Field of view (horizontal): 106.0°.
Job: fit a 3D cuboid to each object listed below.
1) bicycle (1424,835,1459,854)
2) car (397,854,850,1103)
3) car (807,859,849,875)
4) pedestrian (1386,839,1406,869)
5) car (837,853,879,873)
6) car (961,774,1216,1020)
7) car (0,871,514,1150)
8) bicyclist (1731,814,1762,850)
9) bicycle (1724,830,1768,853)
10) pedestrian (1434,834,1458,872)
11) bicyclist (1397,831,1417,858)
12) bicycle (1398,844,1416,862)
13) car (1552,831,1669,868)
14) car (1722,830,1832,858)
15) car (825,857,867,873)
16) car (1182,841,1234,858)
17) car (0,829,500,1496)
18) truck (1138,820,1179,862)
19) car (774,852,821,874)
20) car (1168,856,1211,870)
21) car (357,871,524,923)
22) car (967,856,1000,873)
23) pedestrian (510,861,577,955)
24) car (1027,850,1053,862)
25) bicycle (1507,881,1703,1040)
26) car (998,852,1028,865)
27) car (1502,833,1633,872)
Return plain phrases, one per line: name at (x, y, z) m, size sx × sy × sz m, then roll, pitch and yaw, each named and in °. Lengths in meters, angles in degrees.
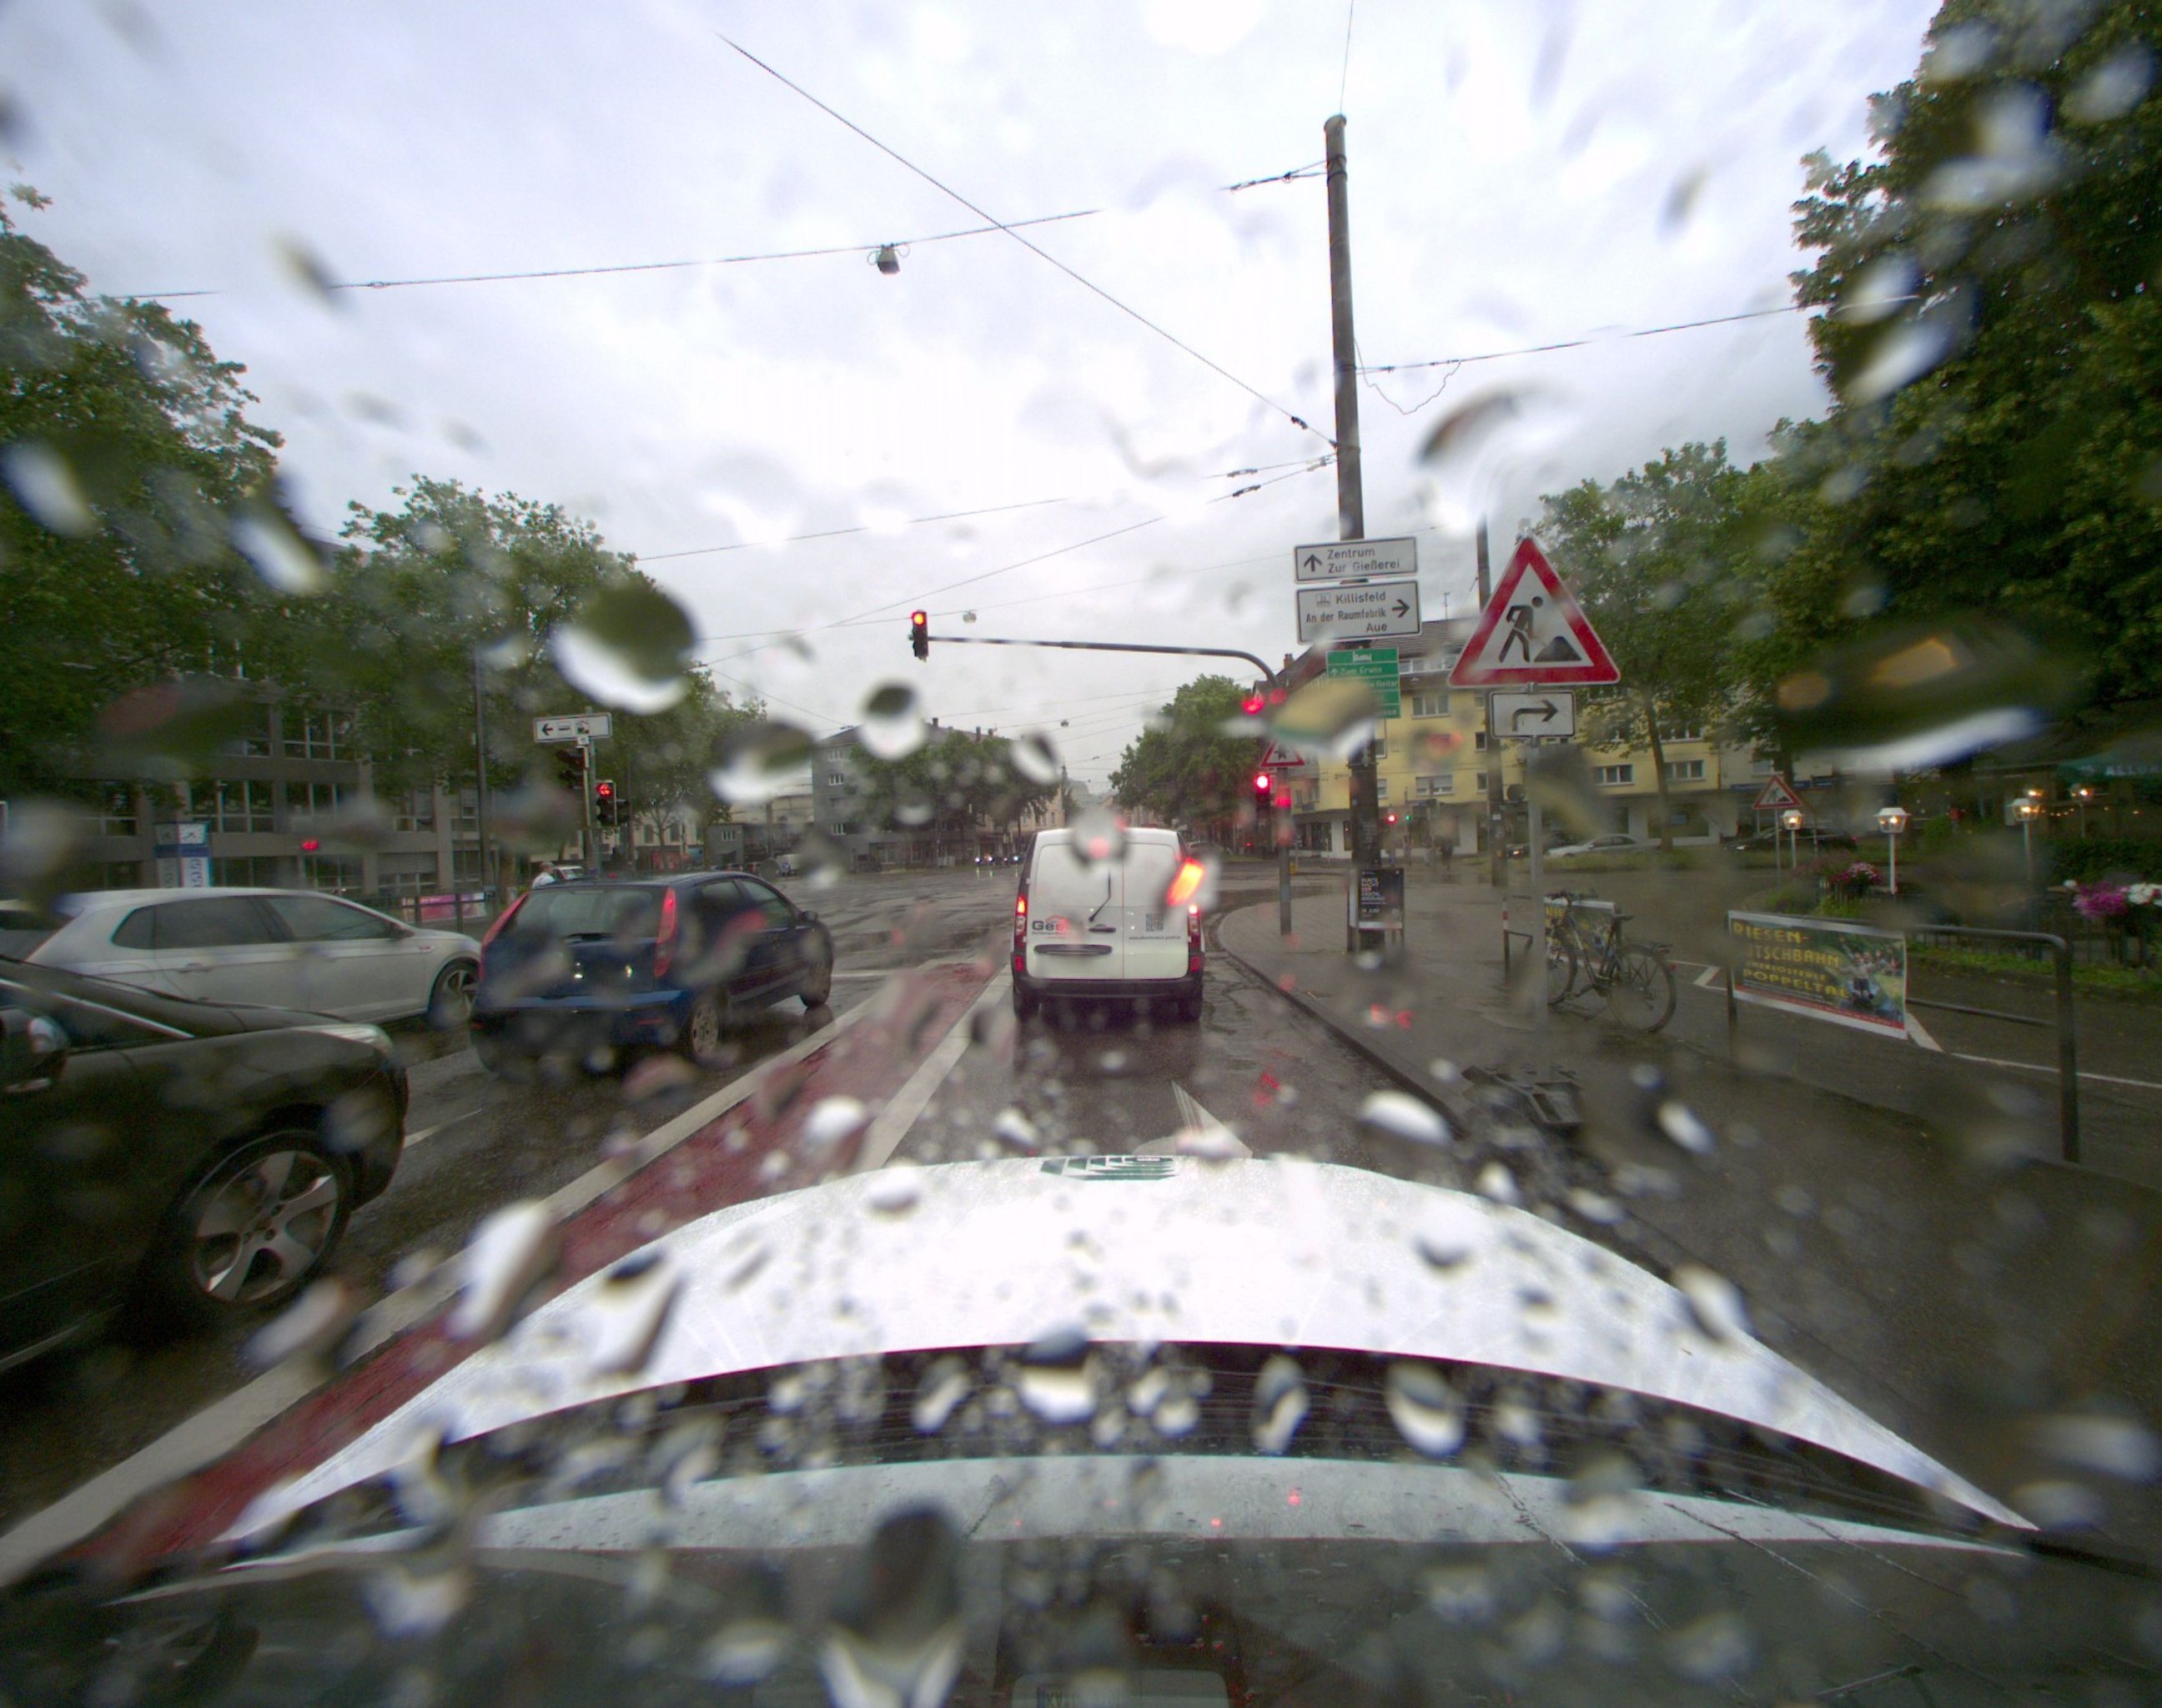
bicycle at (24.341, -0.651, 54.972) m, size 2.085 × 1.261 × 0.534 m, roll -1°, pitch 1°, yaw 16°
car at (-3.512, 0.810, 7.188) m, size 1.720 × 1.578 × 3.822 m, roll -1°, pitch 0°, yaw 2°
car at (-27.498, 1.375, 88.623) m, size 1.935 × 1.496 × 4.025 m, roll -1°, pitch 2°, yaw 29°
pedestrian at (16.073, -0.015, 41.559) m, size 0.820 × 1.534 × 0.616 m, roll -1°, pitch 0°, yaw -37°
car at (-23.397, 0.953, 85.588) m, size 1.975 × 2.013 × 4.025 m, roll -1°, pitch 0°, yaw 29°
car at (0.139, 0.376, 9.330) m, size 2.092 × 2.012 × 4.965 m, roll -2°, pitch 0°, yaw 2°
car at (-6.724, 0.934, 6.507) m, size 1.623 × 1.494 × 3.783 m, roll -1°, pitch 0°, yaw 2°
bicyclist at (30.353, -0.980, 37.131) m, size 0.811 × 1.615 × 0.711 m, roll -1°, pitch 0°, yaw 2°
bicycle at (30.311, -0.579, 37.135) m, size 1.631 × 1.002 × 0.422 m, roll -1°, pitch 0°, yaw 2°
pedestrian at (16.351, -0.048, 36.455) m, size 0.896 × 1.669 × 1.026 m, roll -1°, pitch 0°, yaw 27°
bicyclist at (19.456, -0.570, 48.613) m, size 0.924 × 1.547 × 1.076 m, roll -1°, pitch 0°, yaw 31°
bicycle at (19.480, -0.085, 48.644) m, size 0.651 × 1.027 × 2.037 m, roll -1°, pitch 0°, yaw 32°
car at (22.853, -0.202, 35.316) m, size 3.906 × 1.490 × 1.815 m, roll -1°, pitch 1°, yaw 17°
car at (29.306, -0.416, 34.343) m, size 3.514 × 1.082 × 1.247 m, roll -1°, pitch 0°, yaw 1°
car at (-25.252, 1.188, 87.685) m, size 1.975 × 1.530 × 4.025 m, roll -1°, pitch 2°, yaw 29°
car at (10.736, -0.407, 69.001) m, size 4.160 × 1.338 × 1.518 m, roll -2°, pitch 1°, yaw -6°
car at (-3.643, 0.788, 1.644) m, size 1.827 × 1.668 × 4.174 m, roll -1°, pitch 0°, yaw 2°
truck at (10.451, -1.603, 107.930) m, size 3.446 × 5.087 × 15.361 m, roll -1°, pitch 0°, yaw 13°
car at (-30.743, 0.924, 88.556) m, size 1.975 × 2.198 × 4.816 m, roll 0°, pitch 2°, yaw 25°
car at (9.470, 0.745, 71.106) m, size 3.437 × 1.130 × 1.468 m, roll -1°, pitch 0°, yaw -6°
car at (-18.564, 1.208, 23.792) m, size 1.582 × 1.314 × 3.538 m, roll -1°, pitch 0°, yaw 16°
car at (-10.390, 1.142, 86.850) m, size 1.935 × 1.607 × 4.020 m, roll -1°, pitch 1°, yaw 19°
pedestrian at (-9.427, 0.930, 14.309) m, size 0.621 × 1.607 × 0.744 m, roll -1°, pitch 0°, yaw 9°
car at (-5.137, 0.247, 103.622) m, size 1.935 × 1.239 × 4.020 m, roll -1°, pitch 1°, yaw 19°
bicycle at (4.492, 0.840, 7.171) m, size 0.512 × 1.107 × 2.019 m, roll 1°, pitch 0°, yaw 3°
car at (-7.911, 0.499, 95.142) m, size 1.935 × 1.239 × 4.020 m, roll -1°, pitch 1°, yaw 19°
car at (22.869, -0.024, 38.490) m, size 4.902 × 1.643 × 2.007 m, roll -1°, pitch -3°, yaw 14°
